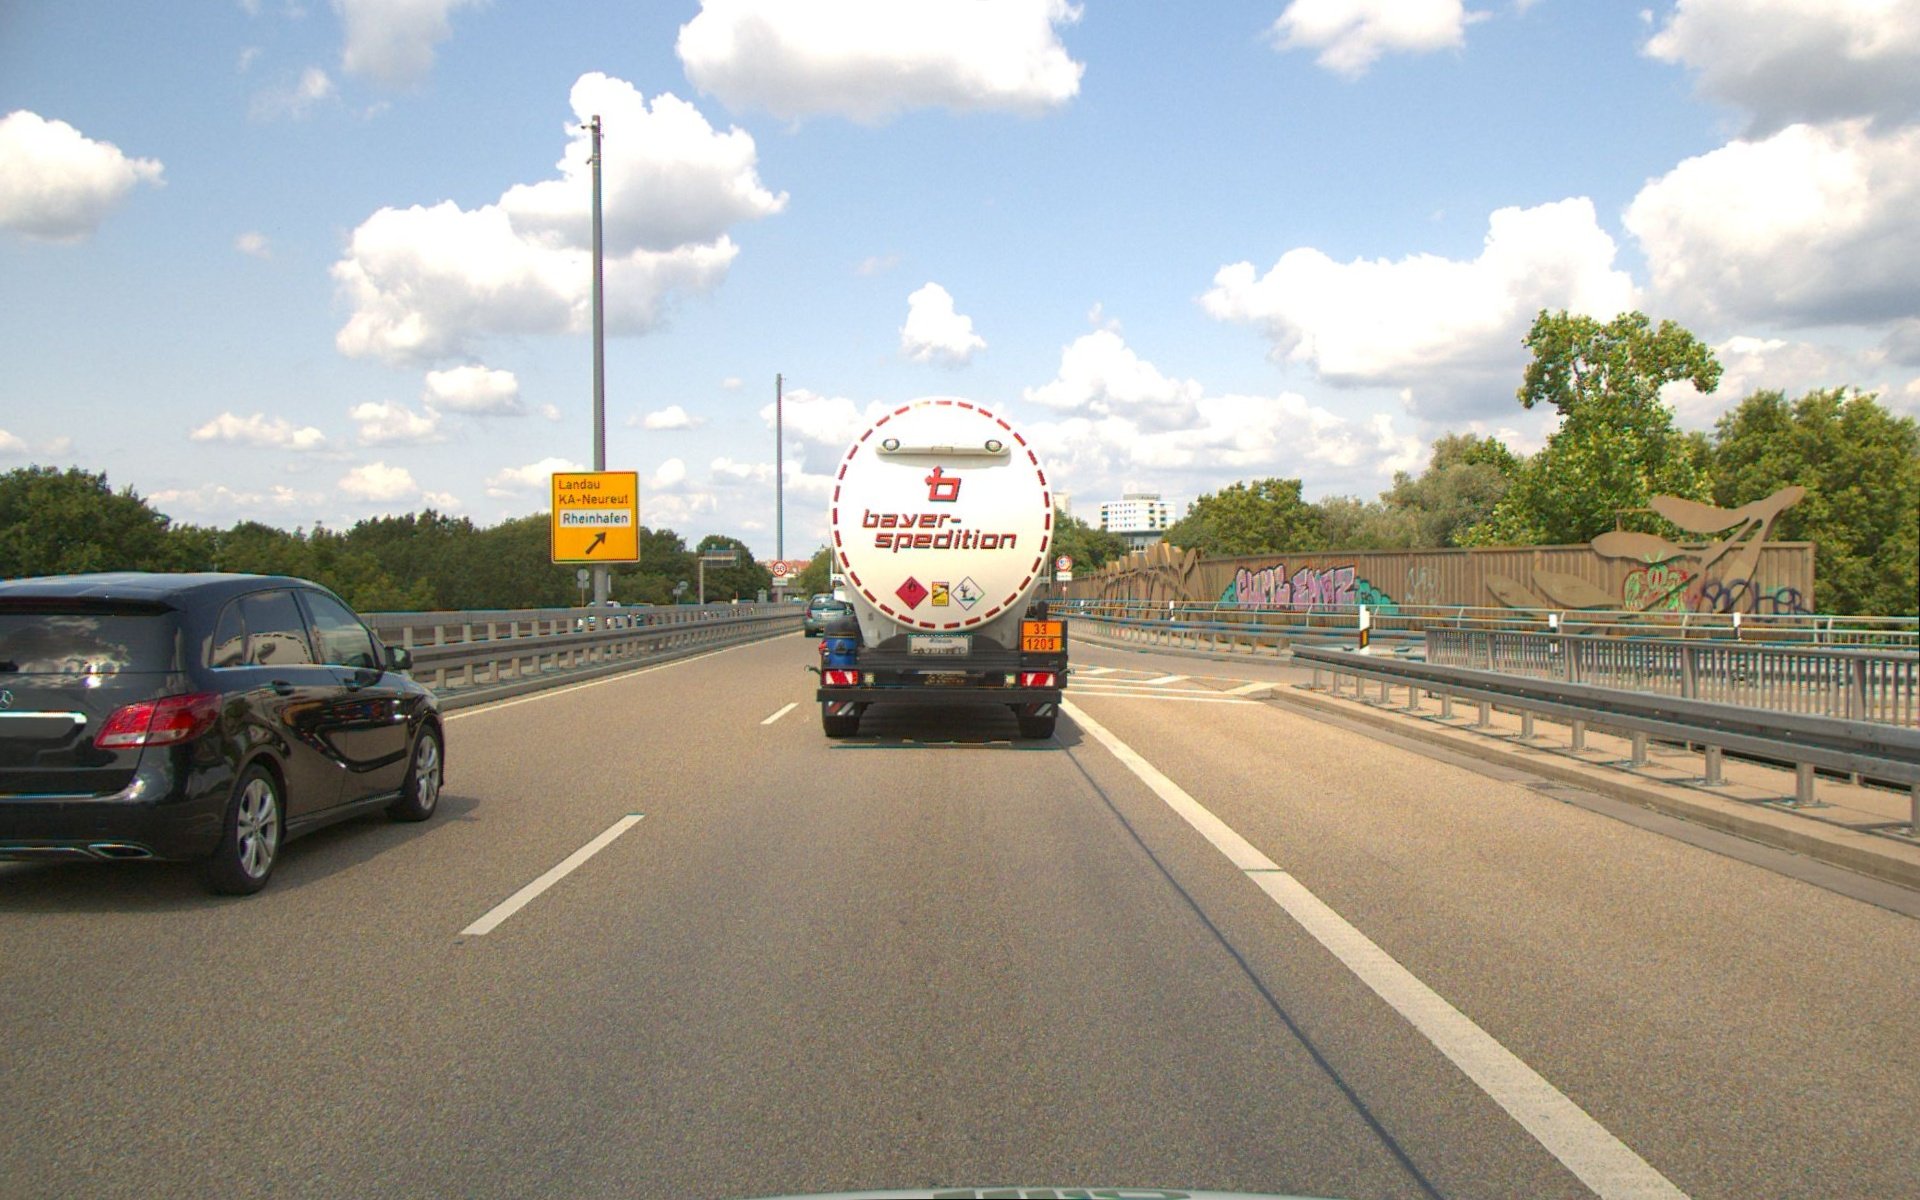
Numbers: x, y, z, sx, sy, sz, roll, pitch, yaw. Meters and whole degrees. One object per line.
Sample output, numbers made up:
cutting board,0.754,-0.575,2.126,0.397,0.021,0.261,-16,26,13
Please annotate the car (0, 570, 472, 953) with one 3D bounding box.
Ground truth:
car,-4.175,0.650,9.047,1.677,1.554,4.592,1,0,-1

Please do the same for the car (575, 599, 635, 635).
car,-16.435,0.754,76.807,1.761,1.624,4.712,1,0,0

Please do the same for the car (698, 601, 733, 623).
car,-16.921,0.814,114.693,1.740,1.445,4.621,0,0,0

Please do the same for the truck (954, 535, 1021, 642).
truck,1.253,-0.521,80.580,2.837,4.892,8.027,1,0,-2

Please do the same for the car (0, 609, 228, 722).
car,-13.181,0.947,25.697,1.864,1.556,4.241,1,0,-3

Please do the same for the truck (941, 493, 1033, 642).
truck,0.851,-1.074,58.752,2.837,4.892,8.027,1,0,-2

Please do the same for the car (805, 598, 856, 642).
car,-4.817,0.727,61.906,1.712,1.558,3.999,0,0,-1

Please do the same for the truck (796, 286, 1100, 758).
truck,-0.214,-0.744,19.810,2.837,4.445,8.027,1,0,-2
